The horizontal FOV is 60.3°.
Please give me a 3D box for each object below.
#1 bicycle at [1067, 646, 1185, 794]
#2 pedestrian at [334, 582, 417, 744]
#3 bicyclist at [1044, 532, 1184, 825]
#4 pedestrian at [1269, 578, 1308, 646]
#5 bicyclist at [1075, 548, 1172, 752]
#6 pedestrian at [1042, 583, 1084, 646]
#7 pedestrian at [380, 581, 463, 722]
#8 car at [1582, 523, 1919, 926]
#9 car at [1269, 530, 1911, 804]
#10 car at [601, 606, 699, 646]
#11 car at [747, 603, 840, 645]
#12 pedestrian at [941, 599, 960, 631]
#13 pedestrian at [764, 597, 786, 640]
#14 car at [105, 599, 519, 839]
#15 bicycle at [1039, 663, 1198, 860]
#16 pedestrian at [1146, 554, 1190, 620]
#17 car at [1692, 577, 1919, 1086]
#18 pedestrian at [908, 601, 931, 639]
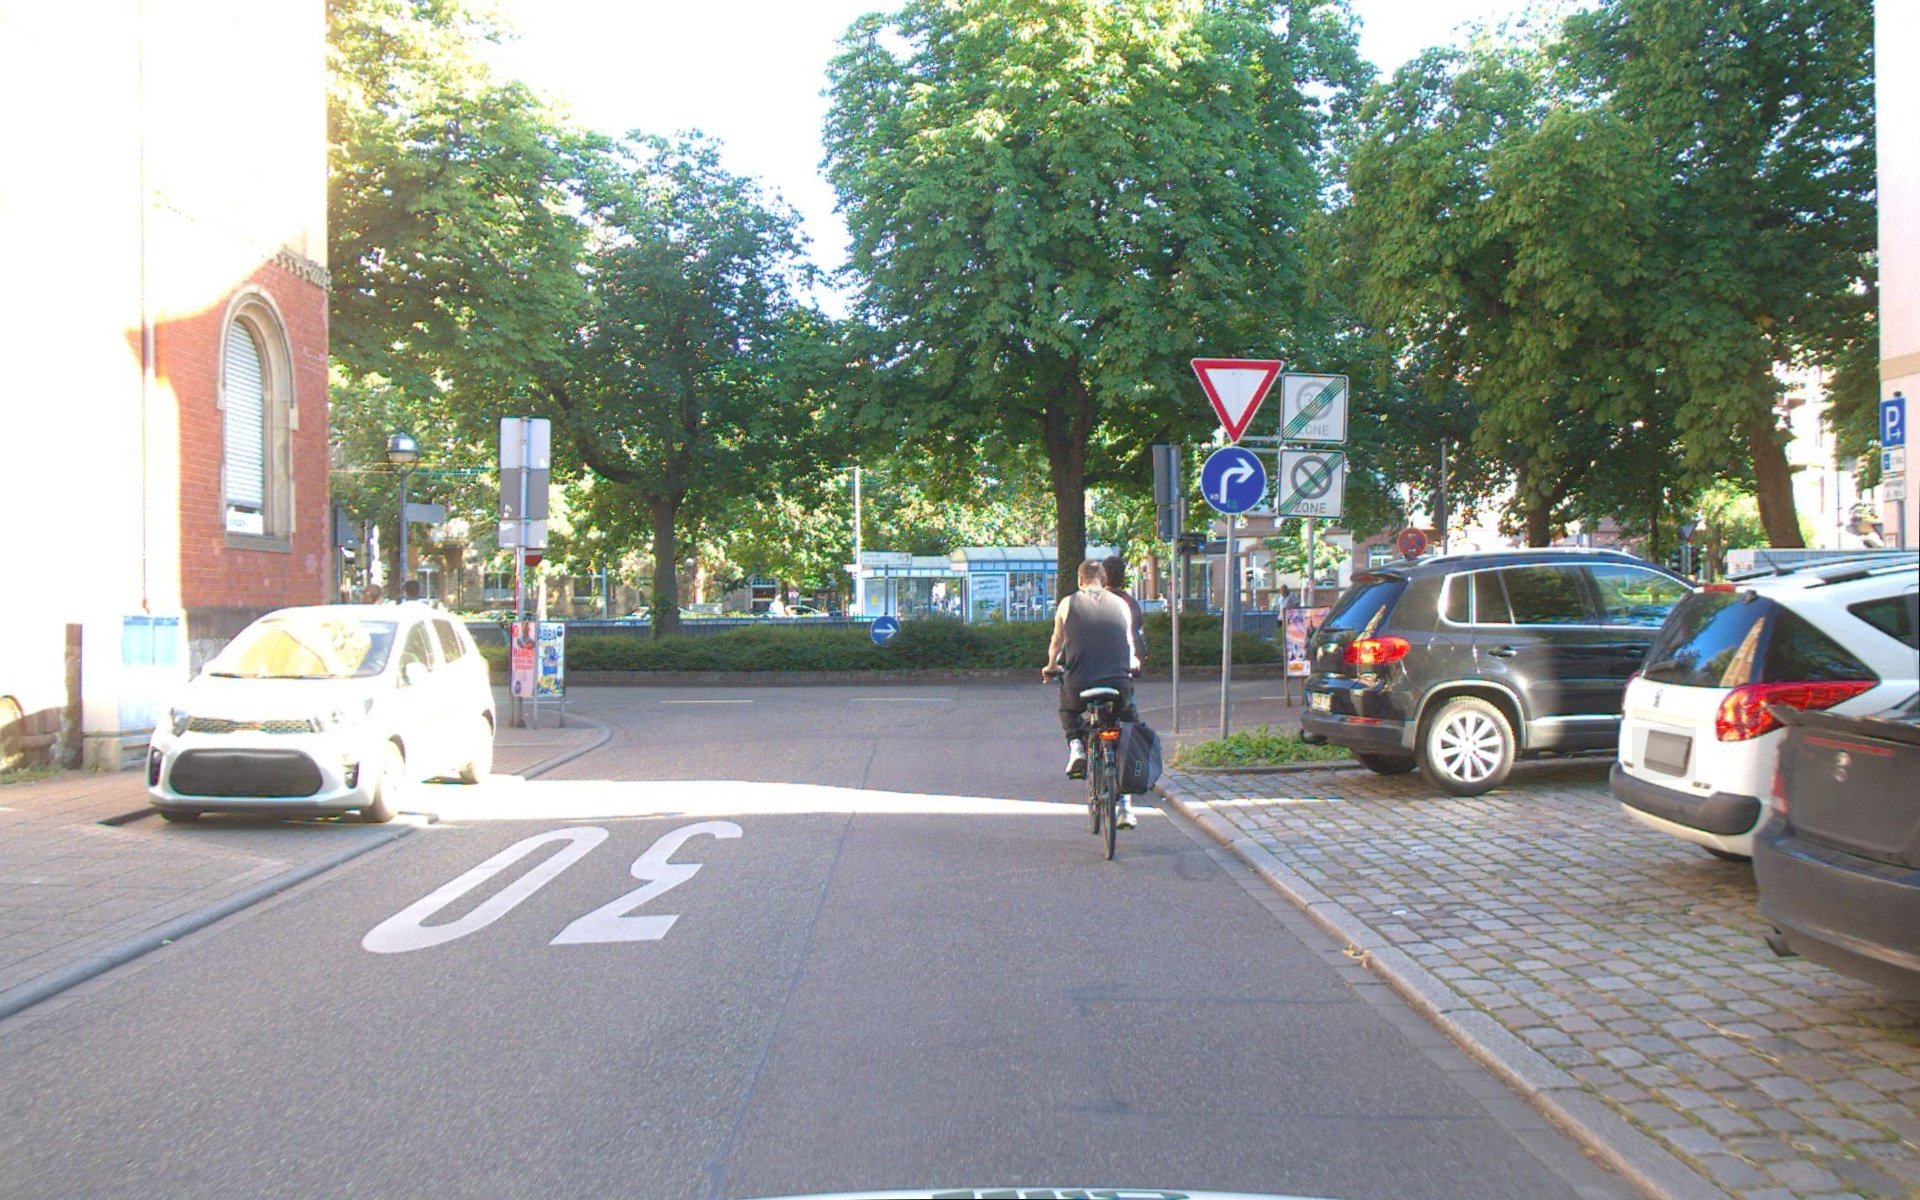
[{"bbox_3d":[1.284,0.909,13.147,0.660,1.072,2.060,0,-2,-2],"label":"bicycle"},{"bbox_3d":[-6.081,0.644,17.239,0.588,1.633,0.854,-1,0,-4],"label":"pedestrian"},{"bbox_3d":[0.927,0.462,10.177,0.737,1.711,0.913,-1,0,-1],"label":"bicyclist"},{"bbox_3d":[8.356,0.304,42.113,0.896,1.713,0.781,-1,0,9],"label":"pedestrian"},{"bbox_3d":[1.279,0.389,13.097,0.657,1.541,1.069,-1,-1,1],"label":"bicyclist"},{"bbox_3d":[3.195,0.437,51.200,1.003,1.930,0.906,0,0,-23],"label":"pedestrian"},{"bbox_3d":[-6.547,0.611,20.140,0.851,1.672,0.858,0,0,-11],"label":"pedestrian"},{"bbox_3d":[5.034,0.506,7.732,3.616,1.680,1.704,-1,0,2],"label":"car"},{"bbox_3d":[4.588,0.436,12.449,4.027,1.742,2.022,-2,1,-6],"label":"car"},{"bbox_3d":[-13.831,1.147,73.903,1.922,1.709,3.920,-1,0,45],"label":"car"},{"bbox_3d":[-7.858,1.106,78.198,3.939,1.903,1.983,-1,0,-27],"label":"car"},{"bbox_3d":[-0.504,0.806,89.406,0.980,1.659,1.064,-1,0,-3],"label":"pedestrian"},{"bbox_3d":[-7.427,0.749,66.484,0.692,1.725,0.666,2,-1,-23],"label":"pedestrian"},{"bbox_3d":[-4.688,0.775,12.583,1.670,1.511,3.796,2,0,-1],"label":"car"},{"bbox_3d":[0.934,0.939,10.239,0.723,1.030,2.060,2,-1,-1],"label":"bicycle"},{"bbox_3d":[5.475,-0.345,43.481,0.880,1.713,0.817,-1,0,33],"label":"pedestrian"},{"bbox_3d":[4.719,0.560,5.159,4.022,1.436,1.792,-3,0,-1],"label":"car"},{"bbox_3d":[-1.678,0.834,69.181,0.795,1.570,0.818,2,-1,-13],"label":"pedestrian"}]
